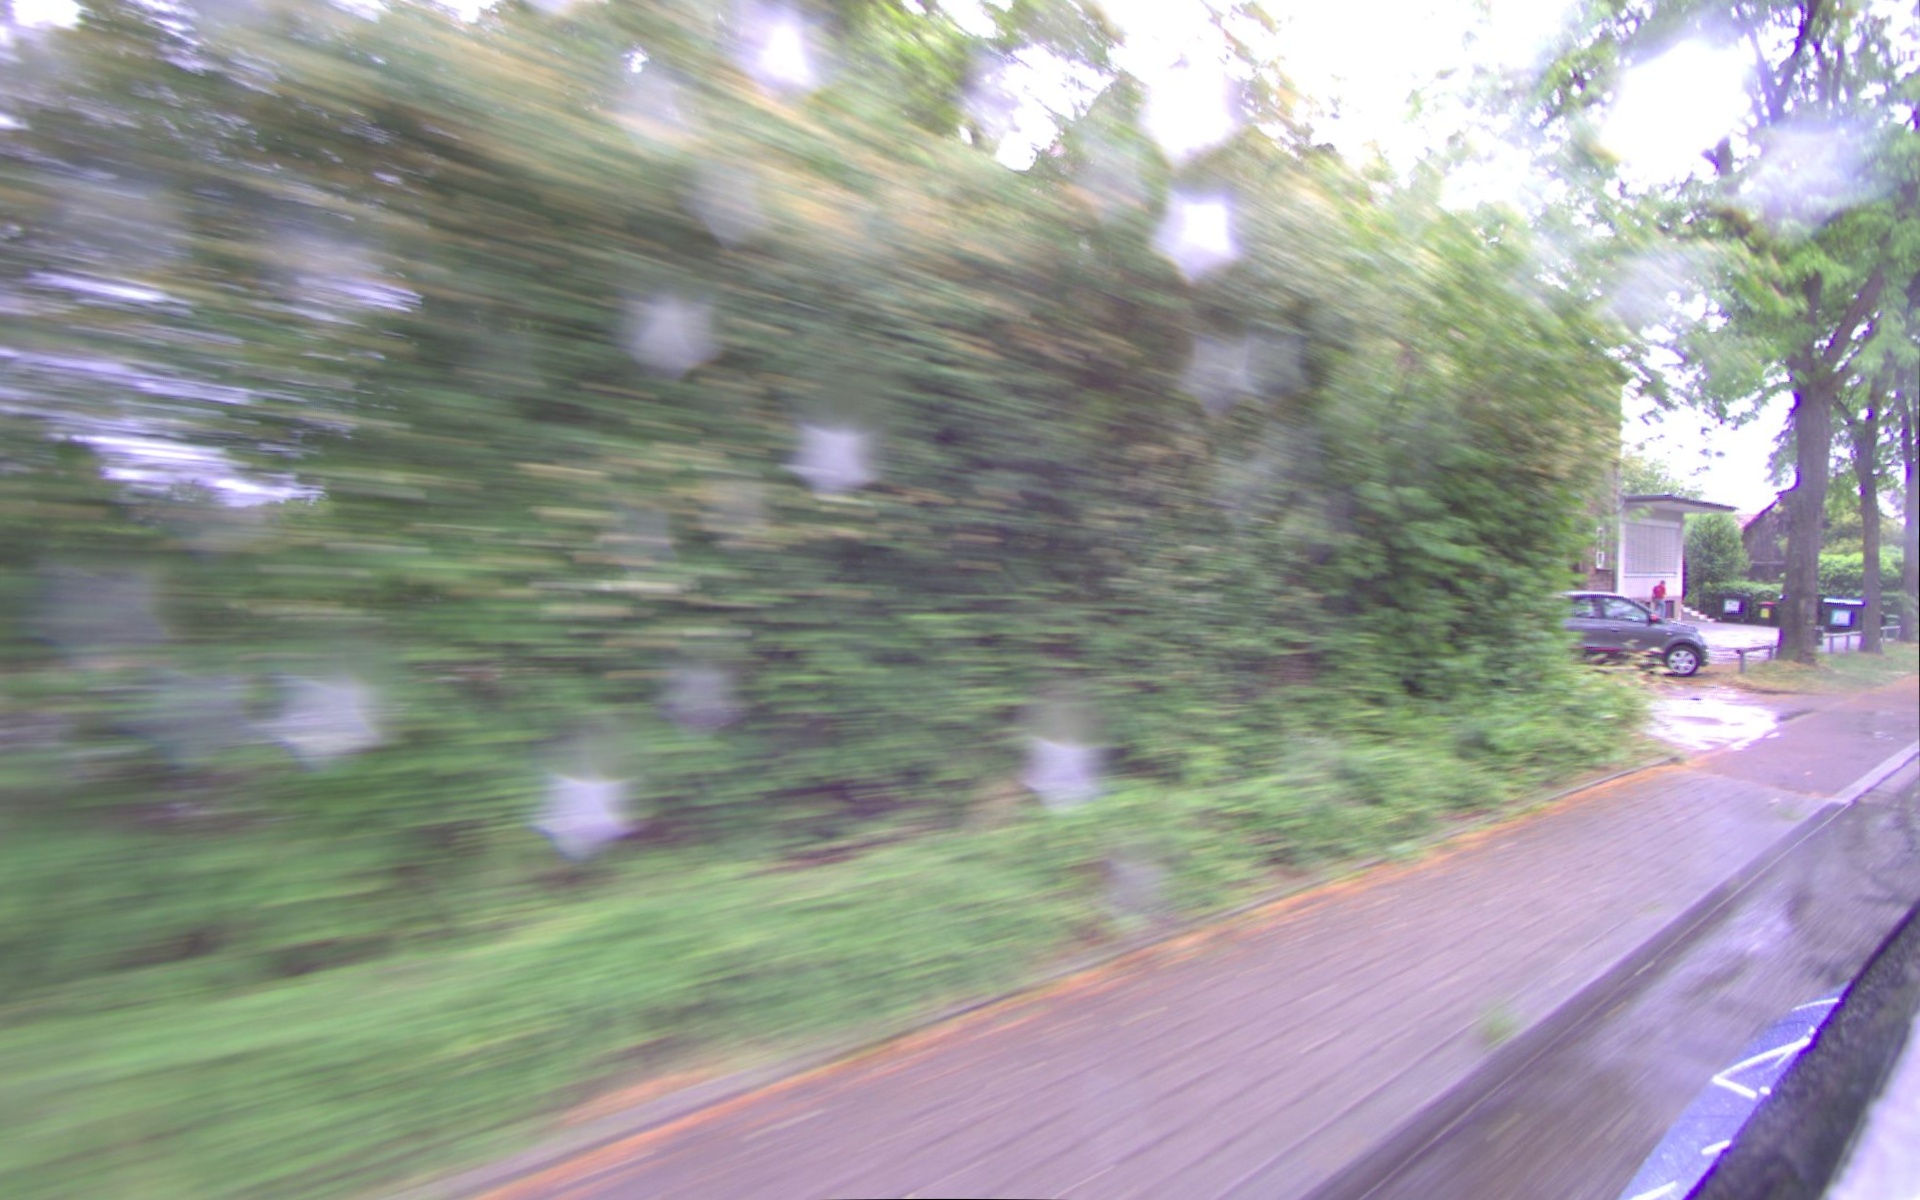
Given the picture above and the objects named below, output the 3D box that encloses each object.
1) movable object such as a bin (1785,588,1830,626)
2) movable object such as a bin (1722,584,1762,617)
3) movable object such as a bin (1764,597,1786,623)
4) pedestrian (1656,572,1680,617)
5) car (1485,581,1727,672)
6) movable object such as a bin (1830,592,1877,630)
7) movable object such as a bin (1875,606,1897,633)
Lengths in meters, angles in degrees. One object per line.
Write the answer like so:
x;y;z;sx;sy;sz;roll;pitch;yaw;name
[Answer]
36.353;0.289;43.418;0.782;1.452;1.238;0;6;-42;movable object such as a bin
34.814;0.021;45.073;0.782;1.358;1.151;0;6;-41;movable object such as a bin
35.616;0.437;44.220;0.521;1.092;0.568;0;5;-42;movable object such as a bin
28.678;-0.216;41.006;0.851;1.776;0.535;2;1;-41;pedestrian
12.442;0.460;19.713;3.556;1.570;1.617;2;2;11;car
37.270;0.452;42.211;0.782;1.435;1.296;0;5;-42;movable object such as a bin
38.031;0.784;41.552;0.455;1.035;0.538;0;5;-42;movable object such as a bin
